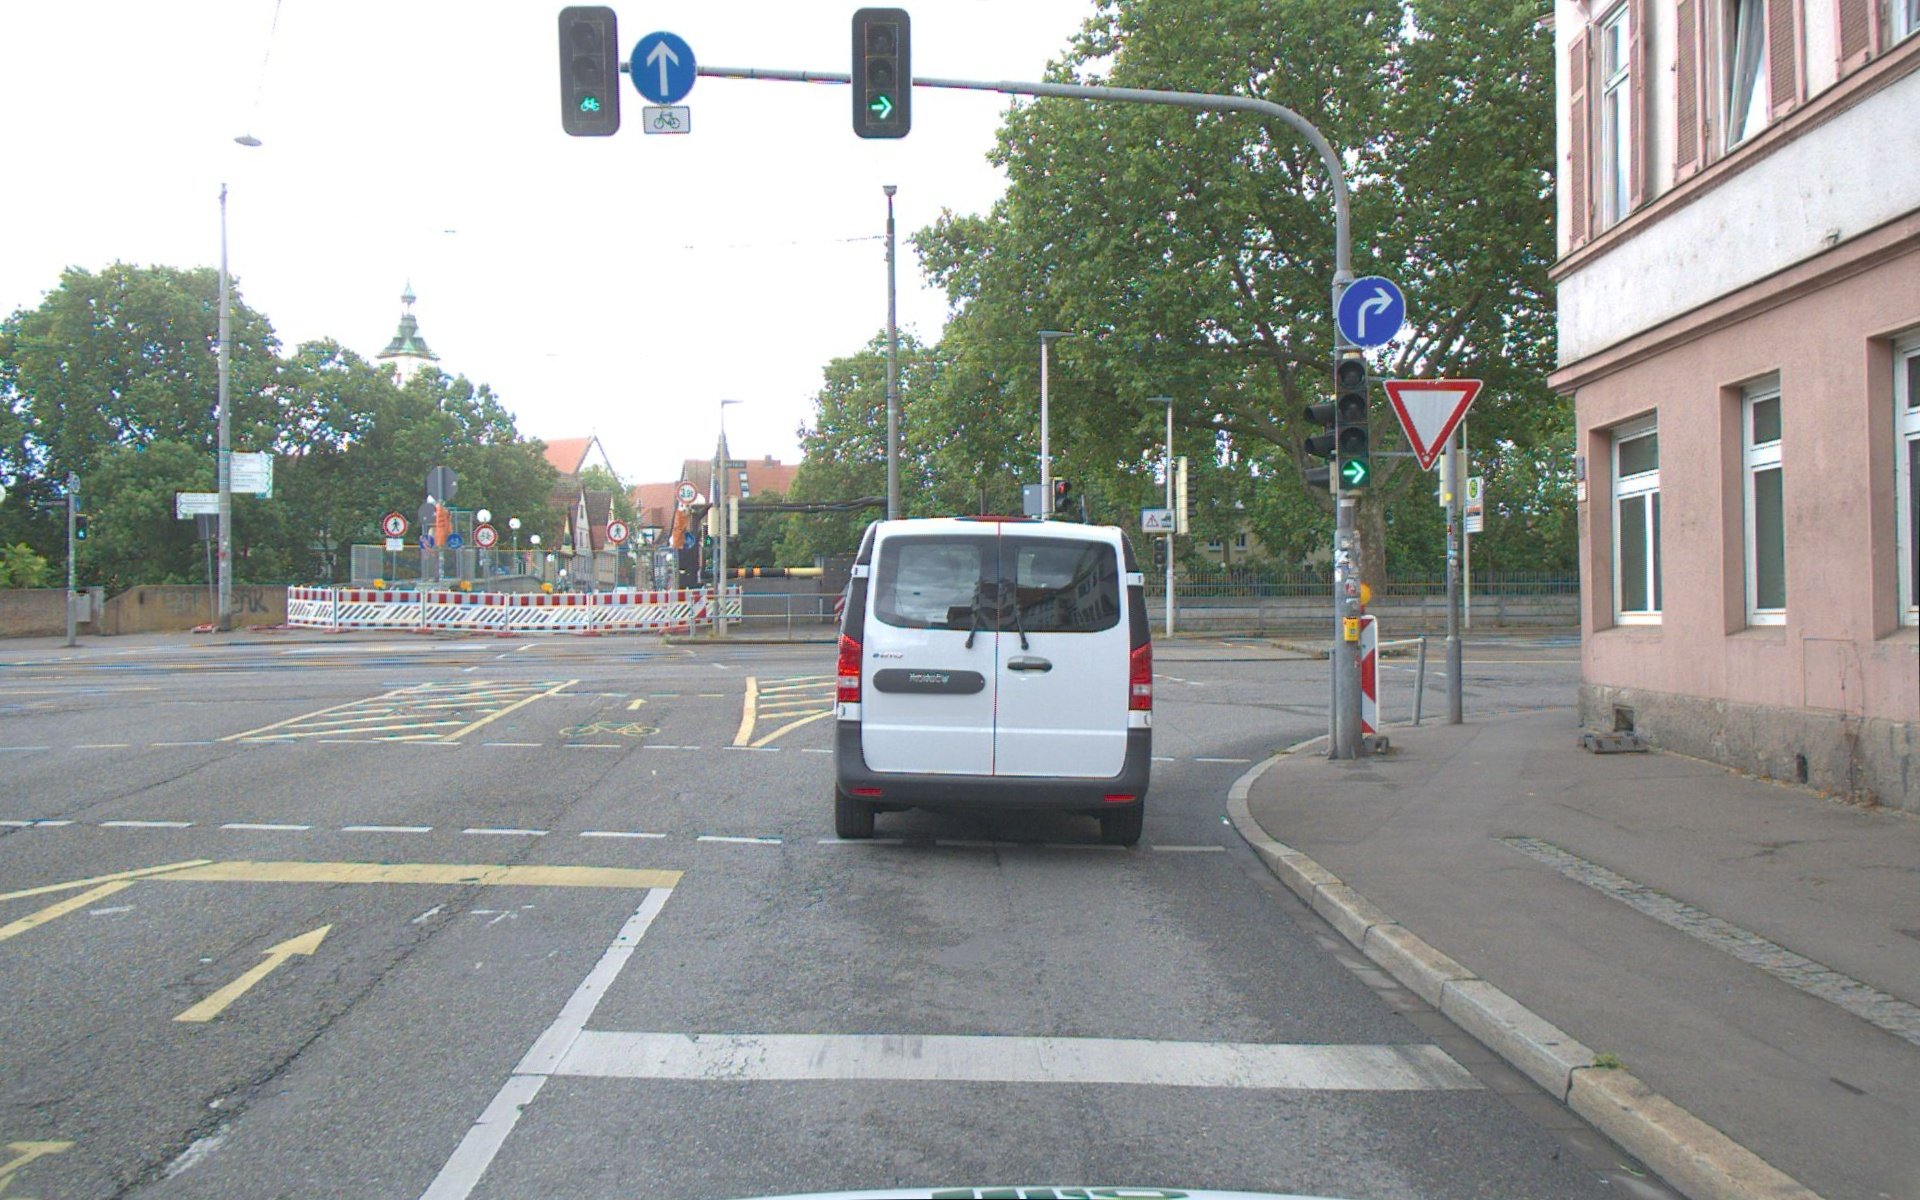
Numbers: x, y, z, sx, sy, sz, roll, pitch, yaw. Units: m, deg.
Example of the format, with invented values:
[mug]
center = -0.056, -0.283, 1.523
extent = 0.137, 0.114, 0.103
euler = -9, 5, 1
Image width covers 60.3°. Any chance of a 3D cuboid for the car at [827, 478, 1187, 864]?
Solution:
[car]
center = 0.217, 0.354, 11.202
extent = 1.911, 2.049, 4.697
euler = 1, 1, -1
